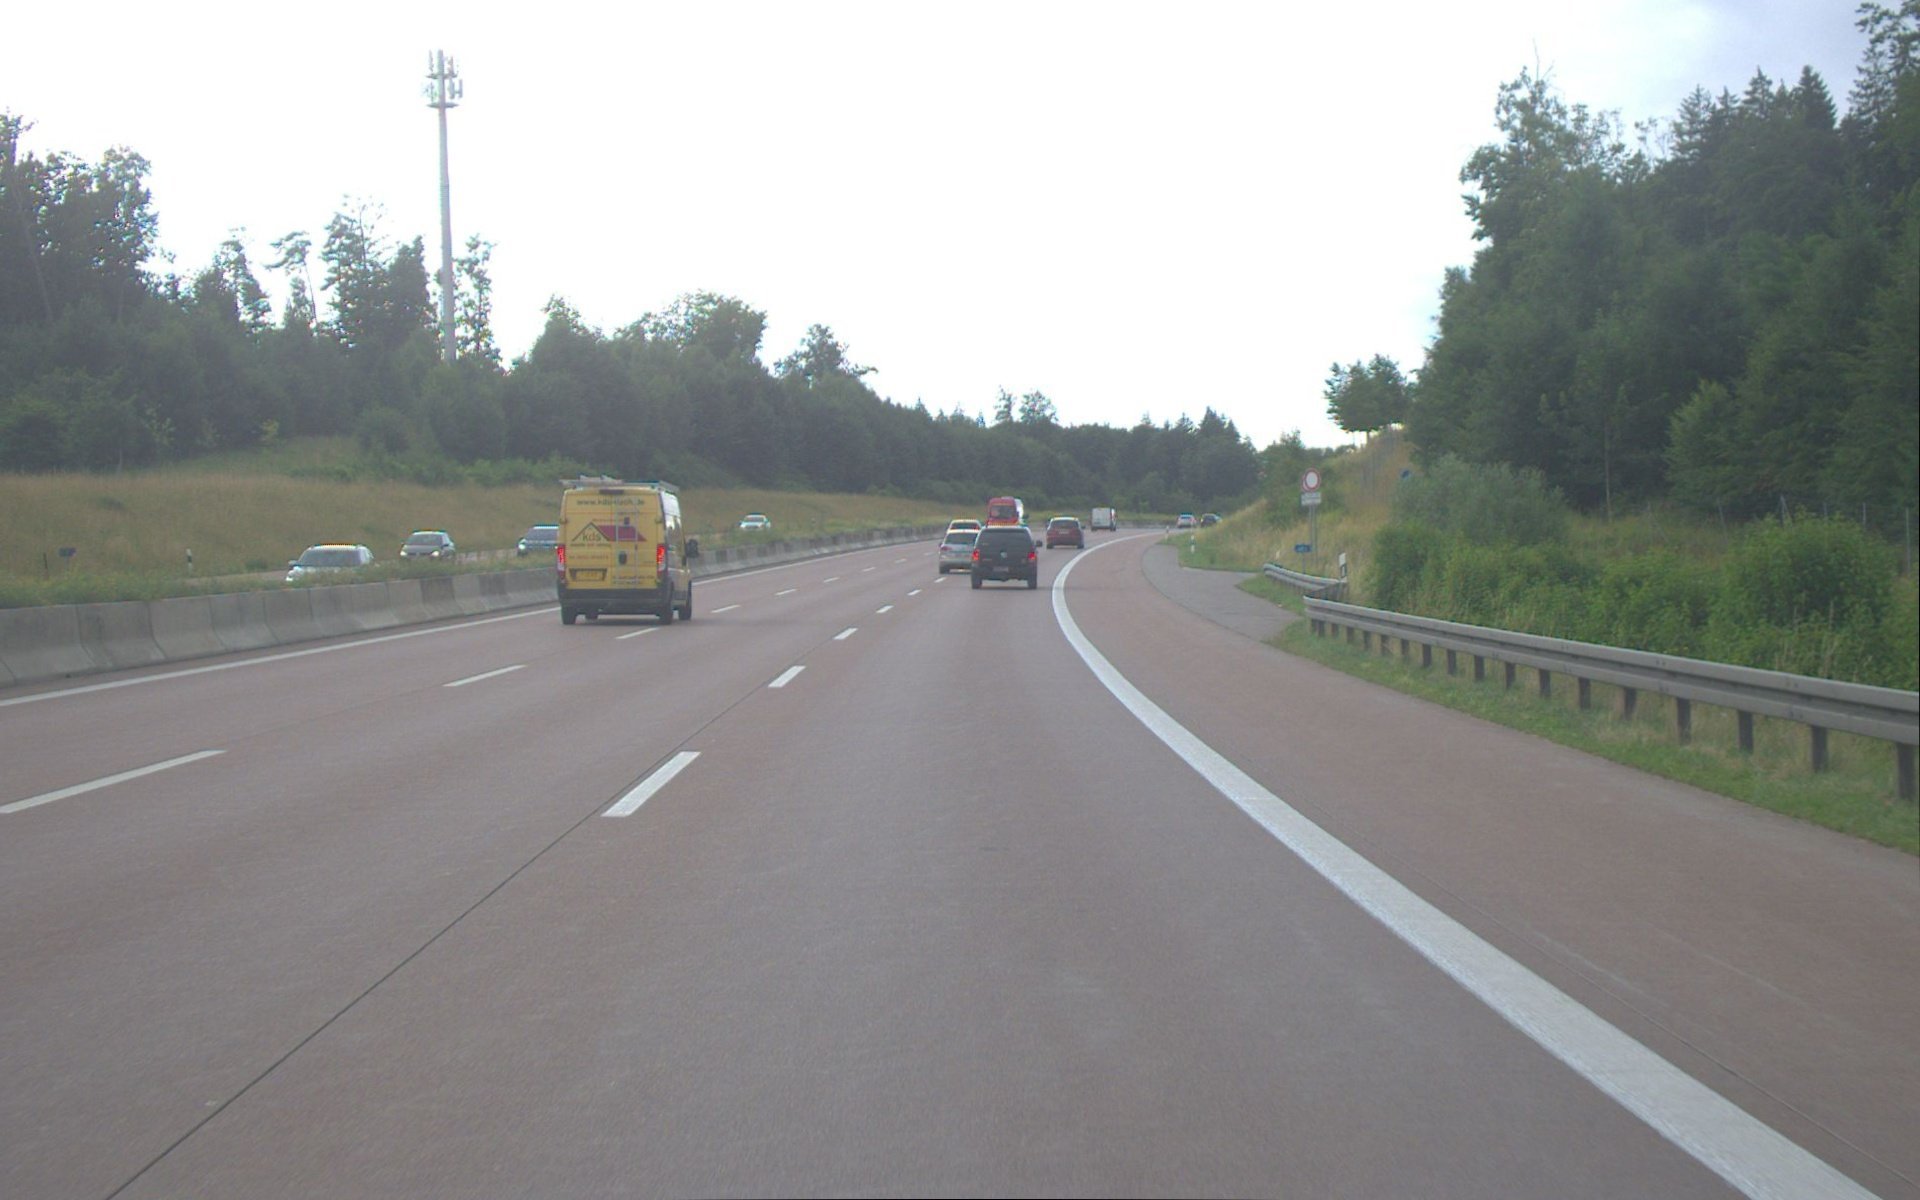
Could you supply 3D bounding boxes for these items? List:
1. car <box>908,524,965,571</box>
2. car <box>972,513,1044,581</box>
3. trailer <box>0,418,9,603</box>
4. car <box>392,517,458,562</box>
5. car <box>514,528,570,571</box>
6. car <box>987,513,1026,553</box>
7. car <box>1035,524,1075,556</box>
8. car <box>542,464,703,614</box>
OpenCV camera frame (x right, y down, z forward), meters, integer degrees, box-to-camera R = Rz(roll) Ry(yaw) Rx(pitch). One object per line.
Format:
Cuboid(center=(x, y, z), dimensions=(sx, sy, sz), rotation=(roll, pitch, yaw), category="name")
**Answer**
Cuboid(center=(-0.868, -1.862, 123.218), dimensions=(1.977, 1.642, 4.619), rotation=(0, 0, -1), category="car")
Cuboid(center=(1.407, -1.508, 100.085), dimensions=(2.044, 1.890, 5.577), rotation=(0, 0, 1), category="car")
Cuboid(center=(-22.592, -1.995, 68.286), dimensions=(3.033, 4.028, 14.530), rotation=(1, 0, 1), category="trailer")
Cuboid(center=(-20.722, -2.316, 133.374), dimensions=(1.762, 1.633, 4.380), rotation=(1, 0, 1), category="car")
Cuboid(center=(-17.011, -2.047, 140.058), dimensions=(1.762, 1.633, 4.380), rotation=(1, 0, -1), category="car")
Cuboid(center=(2.968, -4.226, 217.677), dimensions=(2.241, 2.422, 6.204), rotation=(0, 1, 3), category="car")
Cuboid(center=(4.991, -3.160, 181.870), dimensions=(1.977, 1.642, 4.619), rotation=(0, 0, 0), category="car")
Cuboid(center=(-6.312, -1.117, 65.002), dimensions=(2.458, 2.697, 5.613), rotation=(0, 0, 0), category="car")
